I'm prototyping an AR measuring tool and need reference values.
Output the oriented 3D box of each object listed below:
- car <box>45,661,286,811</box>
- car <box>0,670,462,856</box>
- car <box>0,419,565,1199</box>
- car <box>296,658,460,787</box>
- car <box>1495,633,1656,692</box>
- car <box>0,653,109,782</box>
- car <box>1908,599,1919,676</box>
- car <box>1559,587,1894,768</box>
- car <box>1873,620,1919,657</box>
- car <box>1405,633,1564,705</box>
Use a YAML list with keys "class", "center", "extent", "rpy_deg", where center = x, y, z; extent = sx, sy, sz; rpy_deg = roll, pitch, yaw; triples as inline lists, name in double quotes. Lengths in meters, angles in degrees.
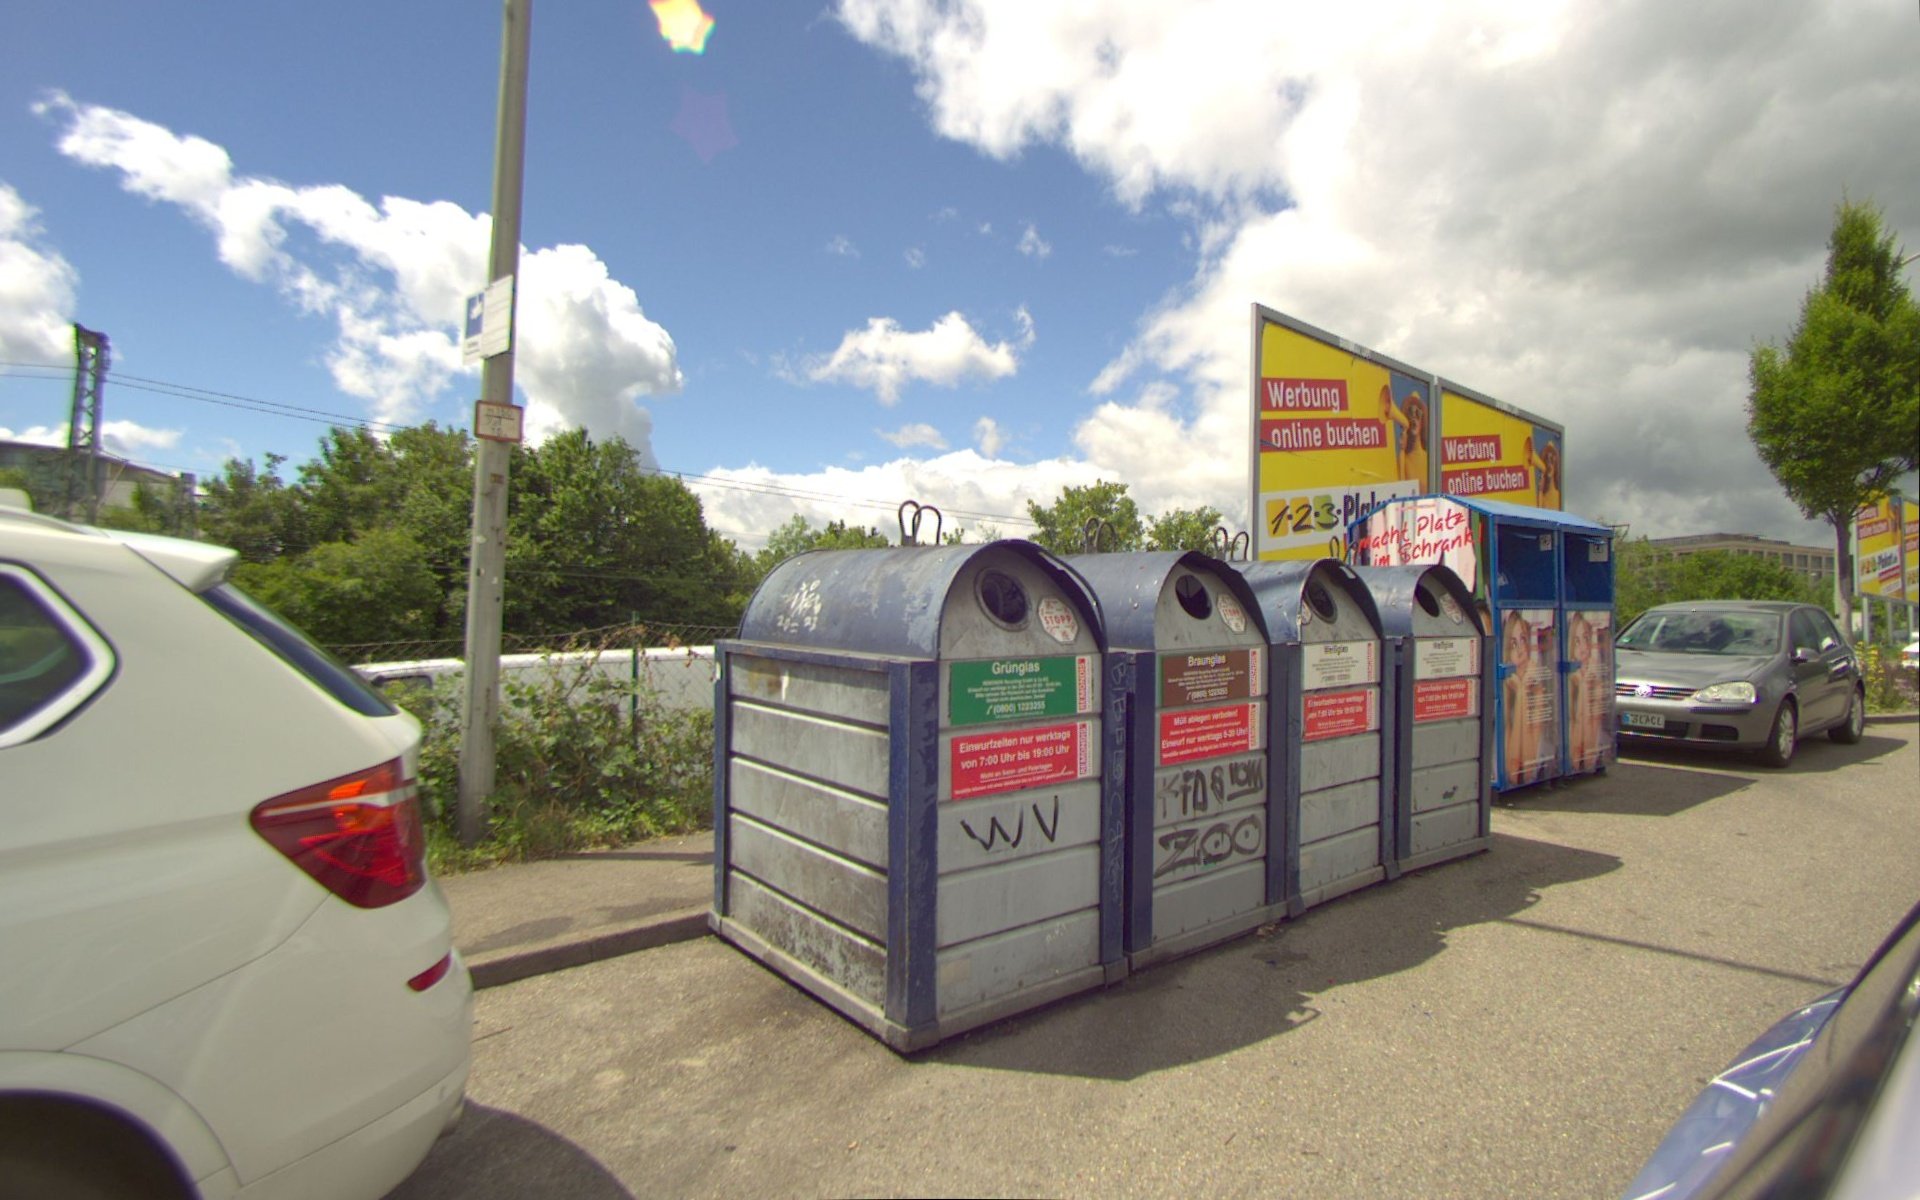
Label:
- class: "car"
  center: [-11.545, 1.857, 15.033]
  extent: [1.759, 1.632, 4.007]
  rpy_deg: [0, 0, -22]
- class: "car"
  center: [-8.259, 1.722, 11.608]
  extent: [4.490, 1.536, 1.759]
  rpy_deg: [0, 1, -29]
- class: "car"
  center: [-2.957, 0.588, 1.128]
  extent: [4.405, 1.680, 1.687]
  rpy_deg: [0, 0, -43]
- class: "car"
  center: [-9.350, 1.864, 16.577]
  extent: [1.784, 1.579, 4.007]
  rpy_deg: [0, 0, -22]
- class: "car"
  center: [18.273, 1.808, 30.248]
  extent: [1.611, 1.509, 4.008]
  rpy_deg: [0, 0, -18]
- class: "car"
  center: [-13.534, 1.591, 13.846]
  extent: [1.707, 1.407, 4.052]
  rpy_deg: [0, 1, -22]
- class: "car"
  center: [19.634, 0.671, 19.064]
  extent: [4.123, 1.405, 1.643]
  rpy_deg: [0, -1, -33]
- class: "car"
  center: [7.880, 0.626, 10.296]
  extent: [3.969, 1.504, 1.660]
  rpy_deg: [0, 1, -36]
- class: "car"
  center: [39.202, 1.535, 41.142]
  extent: [4.464, 1.369, 1.823]
  rpy_deg: [0, 0, -30]
- class: "car"
  center: [14.090, 1.798, 27.473]
  extent: [1.606, 1.661, 4.007]
  rpy_deg: [0, 0, -13]
